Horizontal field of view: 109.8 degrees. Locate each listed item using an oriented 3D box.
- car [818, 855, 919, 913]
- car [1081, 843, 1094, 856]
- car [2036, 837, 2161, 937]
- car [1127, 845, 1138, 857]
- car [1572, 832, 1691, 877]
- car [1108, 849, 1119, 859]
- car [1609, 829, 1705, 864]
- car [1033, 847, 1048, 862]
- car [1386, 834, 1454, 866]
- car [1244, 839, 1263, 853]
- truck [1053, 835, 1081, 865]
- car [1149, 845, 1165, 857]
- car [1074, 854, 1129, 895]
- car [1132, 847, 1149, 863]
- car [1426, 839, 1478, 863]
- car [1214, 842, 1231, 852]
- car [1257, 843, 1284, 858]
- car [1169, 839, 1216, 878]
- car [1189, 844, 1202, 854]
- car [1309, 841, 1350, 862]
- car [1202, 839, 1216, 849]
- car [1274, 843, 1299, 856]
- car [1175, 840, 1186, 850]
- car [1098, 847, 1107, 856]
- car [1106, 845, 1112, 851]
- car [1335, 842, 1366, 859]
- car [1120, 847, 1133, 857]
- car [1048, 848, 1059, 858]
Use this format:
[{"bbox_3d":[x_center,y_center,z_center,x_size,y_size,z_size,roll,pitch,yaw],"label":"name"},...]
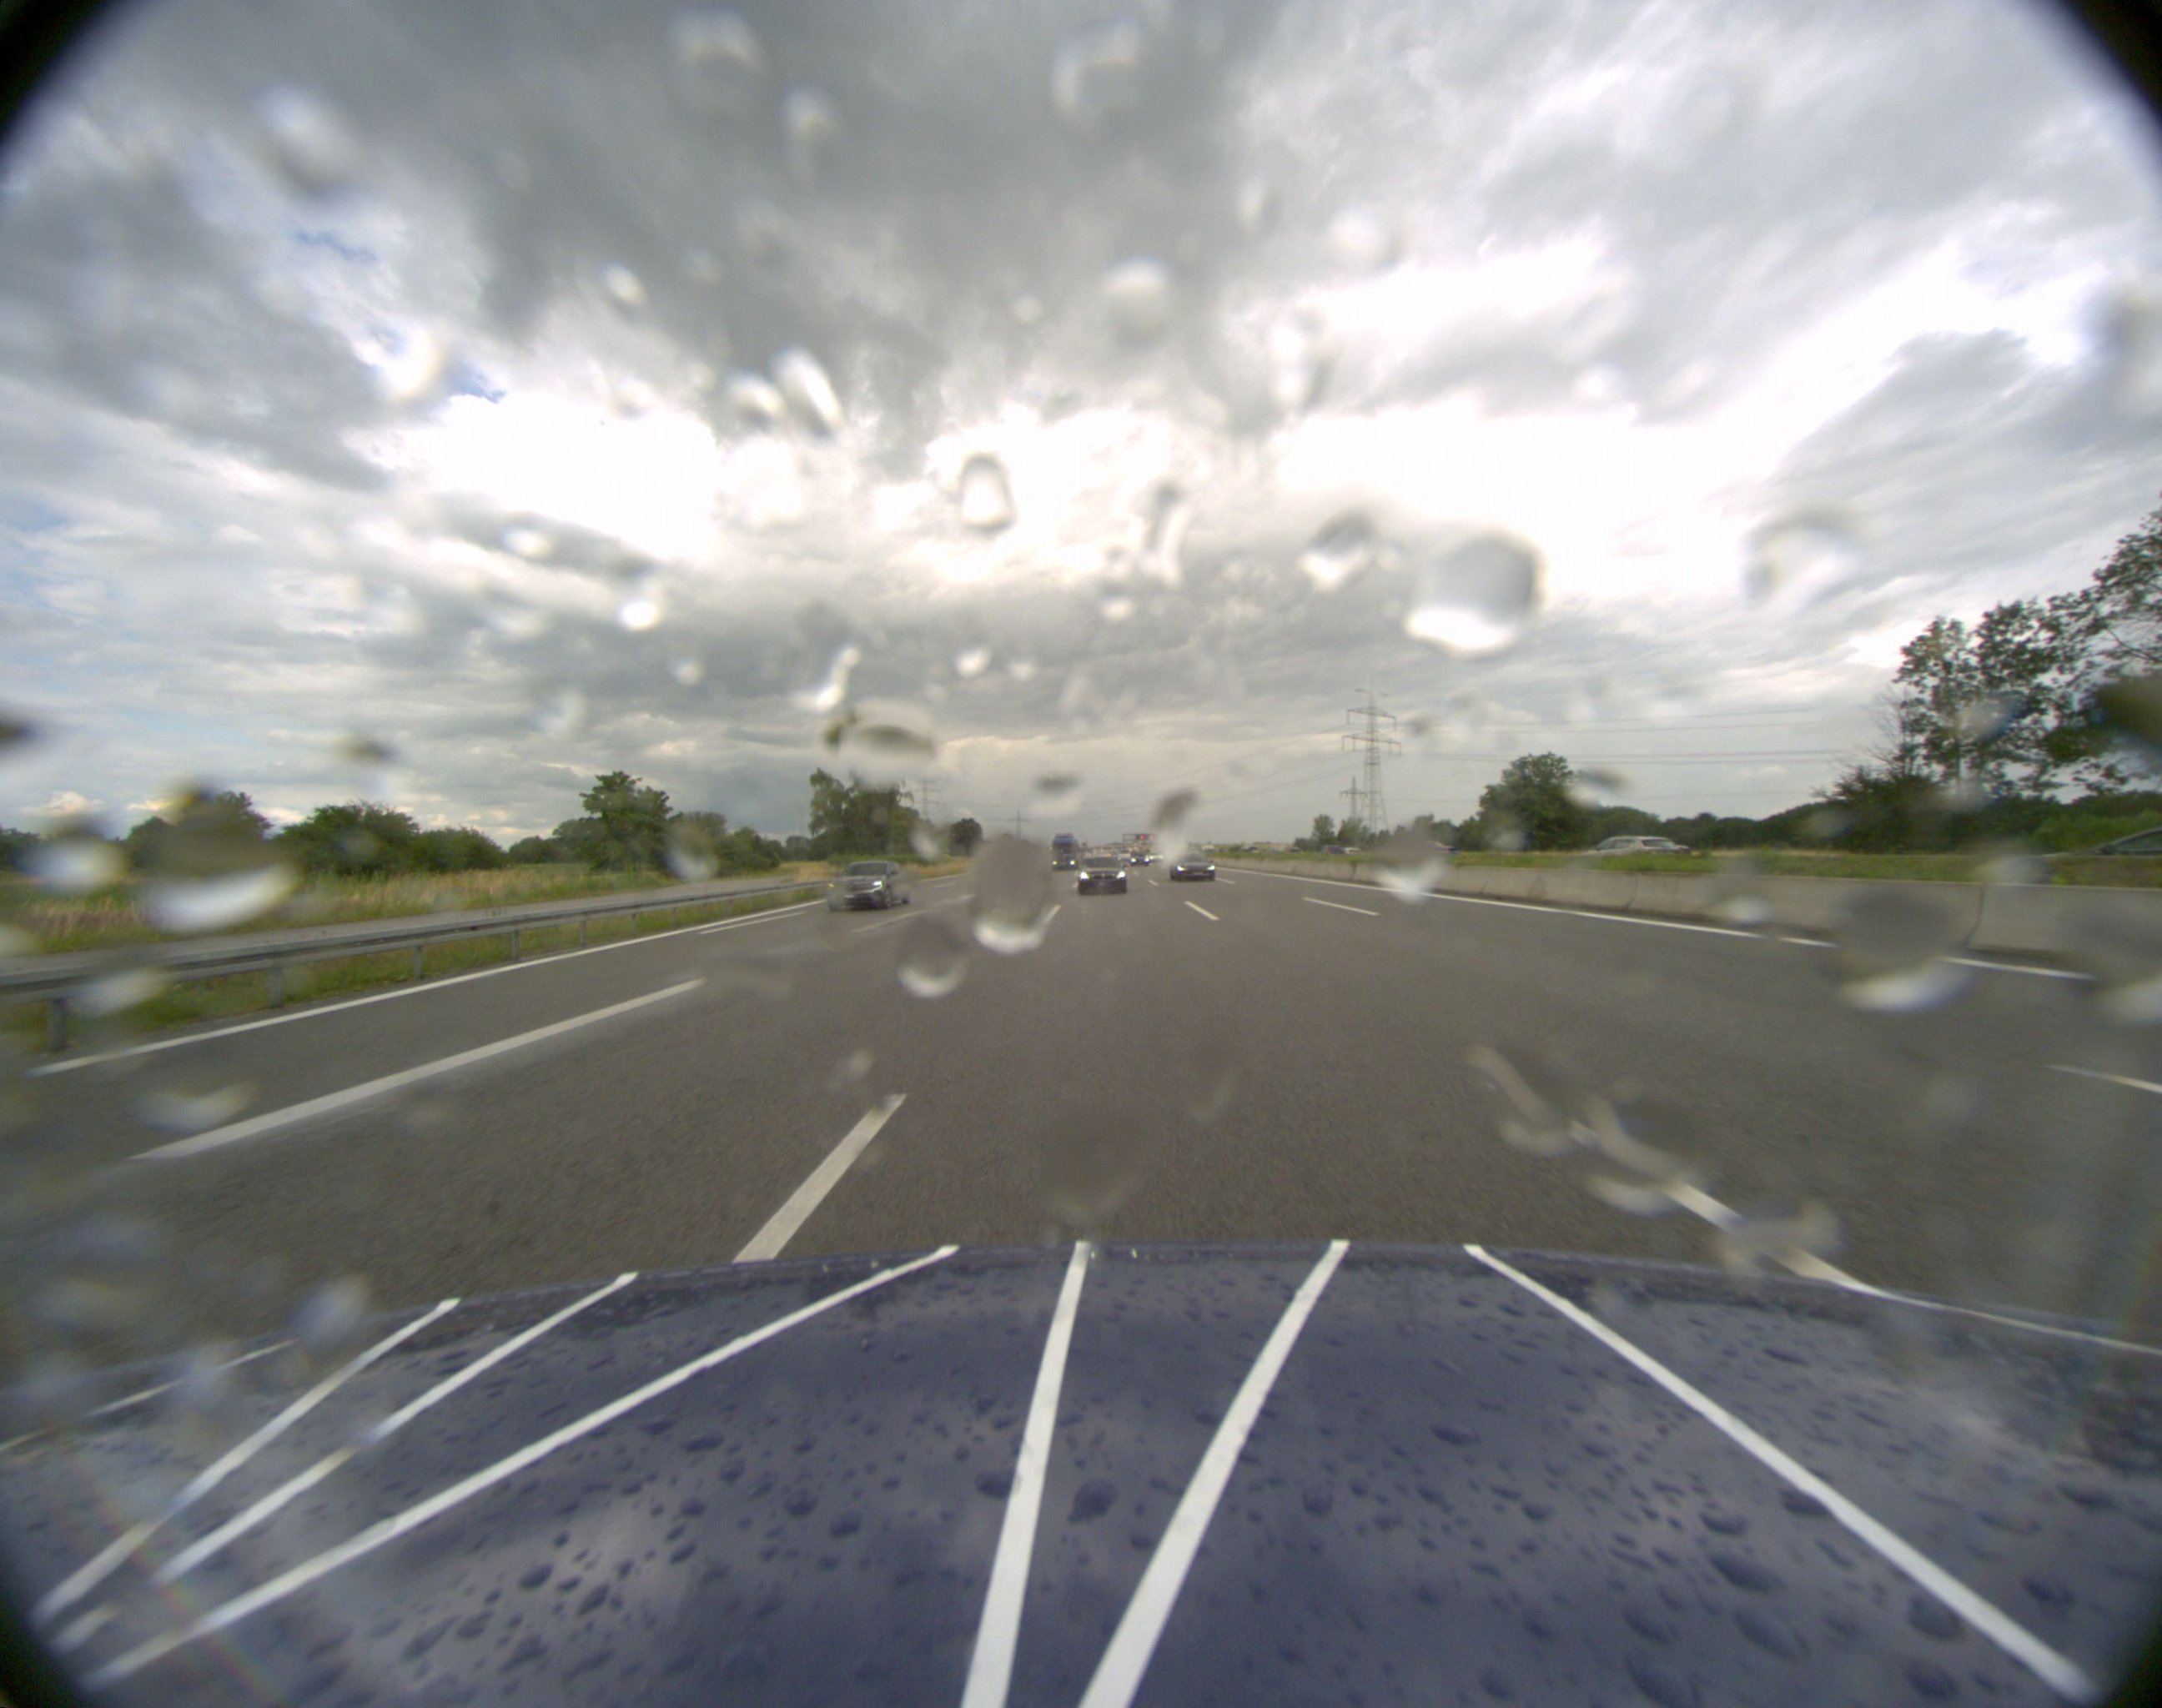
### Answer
[{"bbox_3d":[-6.740,0.869,24.628,1.999,1.632,4.629,-1,0,-1],"label":"car"},{"bbox_3d":[1.050,-0.723,120.205,1.998,2.002,5.051,-2,1,1],"label":"car"},{"bbox_3d":[18.754,0.545,12.216,1.801,1.605,4.000,-2,1,1],"label":"car"},{"bbox_3d":[11.874,-0.679,175.093,2.144,2.486,5.449,-2,1,5],"label":"car"},{"bbox_3d":[23.027,-0.006,31.997,1.785,1.687,4.351,-2,1,-1],"label":"car"},{"bbox_3d":[6.333,-0.072,149.671,1.998,1.810,5.162,-2,1,2],"label":"car"},{"bbox_3d":[30.705,-0.409,40.666,1.785,1.687,4.351,-2,1,-1],"label":"car"},{"bbox_3d":[-5.857,0.080,109.119,1.835,2.002,3.862,-2,1,1],"label":"car"},{"bbox_3d":[19.279,-0.236,43.487,1.785,1.687,4.501,-2,1,-1],"label":"car"},{"bbox_3d":[25.237,-1.203,111.282,1.824,1.897,4.000,-2,1,1],"label":"car"},{"bbox_3d":[-1.271,-0.380,73.573,2.391,2.726,6.593,-2,1,1],"label":"truck"},{"bbox_3d":[10.579,-0.466,106.032,1.822,1.565,4.000,-2,1,1],"label":"car"},{"bbox_3d":[0.786,0.727,29.230,1.922,1.407,4.000,-1,0,2],"label":"car"},{"bbox_3d":[6.415,0.099,81.918,1.710,1.562,4.347,-2,1,5],"label":"car"},{"bbox_3d":[24.171,-0.209,49.631,1.639,1.403,3.755,-2,1,1],"label":"car"},{"bbox_3d":[20.486,-1.010,110.252,1.824,1.403,4.000,-2,1,1],"label":"car"},{"bbox_3d":[19.669,-0.368,79.114,1.824,1.403,4.000,-2,1,1],"label":"car"},{"bbox_3d":[5.648,0.193,38.956,1.998,1.810,5.164,-2,1,4],"label":"car"},{"bbox_3d":[21.773,-0.993,144.434,1.824,1.721,4.000,-2,1,1],"label":"car"},{"bbox_3d":[19.810,-0.204,60.717,1.785,1.603,4.351,-2,1,-1],"label":"car"},{"bbox_3d":[26.280,-2.140,156.570,2.077,1.959,4.952,-2,1,1],"label":"car"},{"bbox_3d":[23.784,-0.553,87.975,1.824,1.403,4.000,-2,1,1],"label":"car"},{"bbox_3d":[22.025,-2.083,167.861,1.824,2.112,4.000,-2,1,1],"label":"car"},{"bbox_3d":[4.846,-0.617,169.640,1.998,1.810,5.163,-2,1,3],"label":"car"},{"bbox_3d":[8.462,-1.717,229.781,1.998,1.801,4.274,-1,1,2],"label":"car"},{"bbox_3d":[23.776,-0.349,67.049,1.467,1.403,3.595,-2,1,1],"label":"car"},{"bbox_3d":[7.021,-0.311,117.933,1.806,1.424,4.000,-2,1,1],"label":"car"},{"bbox_3d":[-5.443,-0.163,152.176,1.998,2.002,5.051,-1,0,1],"label":"car"}]
